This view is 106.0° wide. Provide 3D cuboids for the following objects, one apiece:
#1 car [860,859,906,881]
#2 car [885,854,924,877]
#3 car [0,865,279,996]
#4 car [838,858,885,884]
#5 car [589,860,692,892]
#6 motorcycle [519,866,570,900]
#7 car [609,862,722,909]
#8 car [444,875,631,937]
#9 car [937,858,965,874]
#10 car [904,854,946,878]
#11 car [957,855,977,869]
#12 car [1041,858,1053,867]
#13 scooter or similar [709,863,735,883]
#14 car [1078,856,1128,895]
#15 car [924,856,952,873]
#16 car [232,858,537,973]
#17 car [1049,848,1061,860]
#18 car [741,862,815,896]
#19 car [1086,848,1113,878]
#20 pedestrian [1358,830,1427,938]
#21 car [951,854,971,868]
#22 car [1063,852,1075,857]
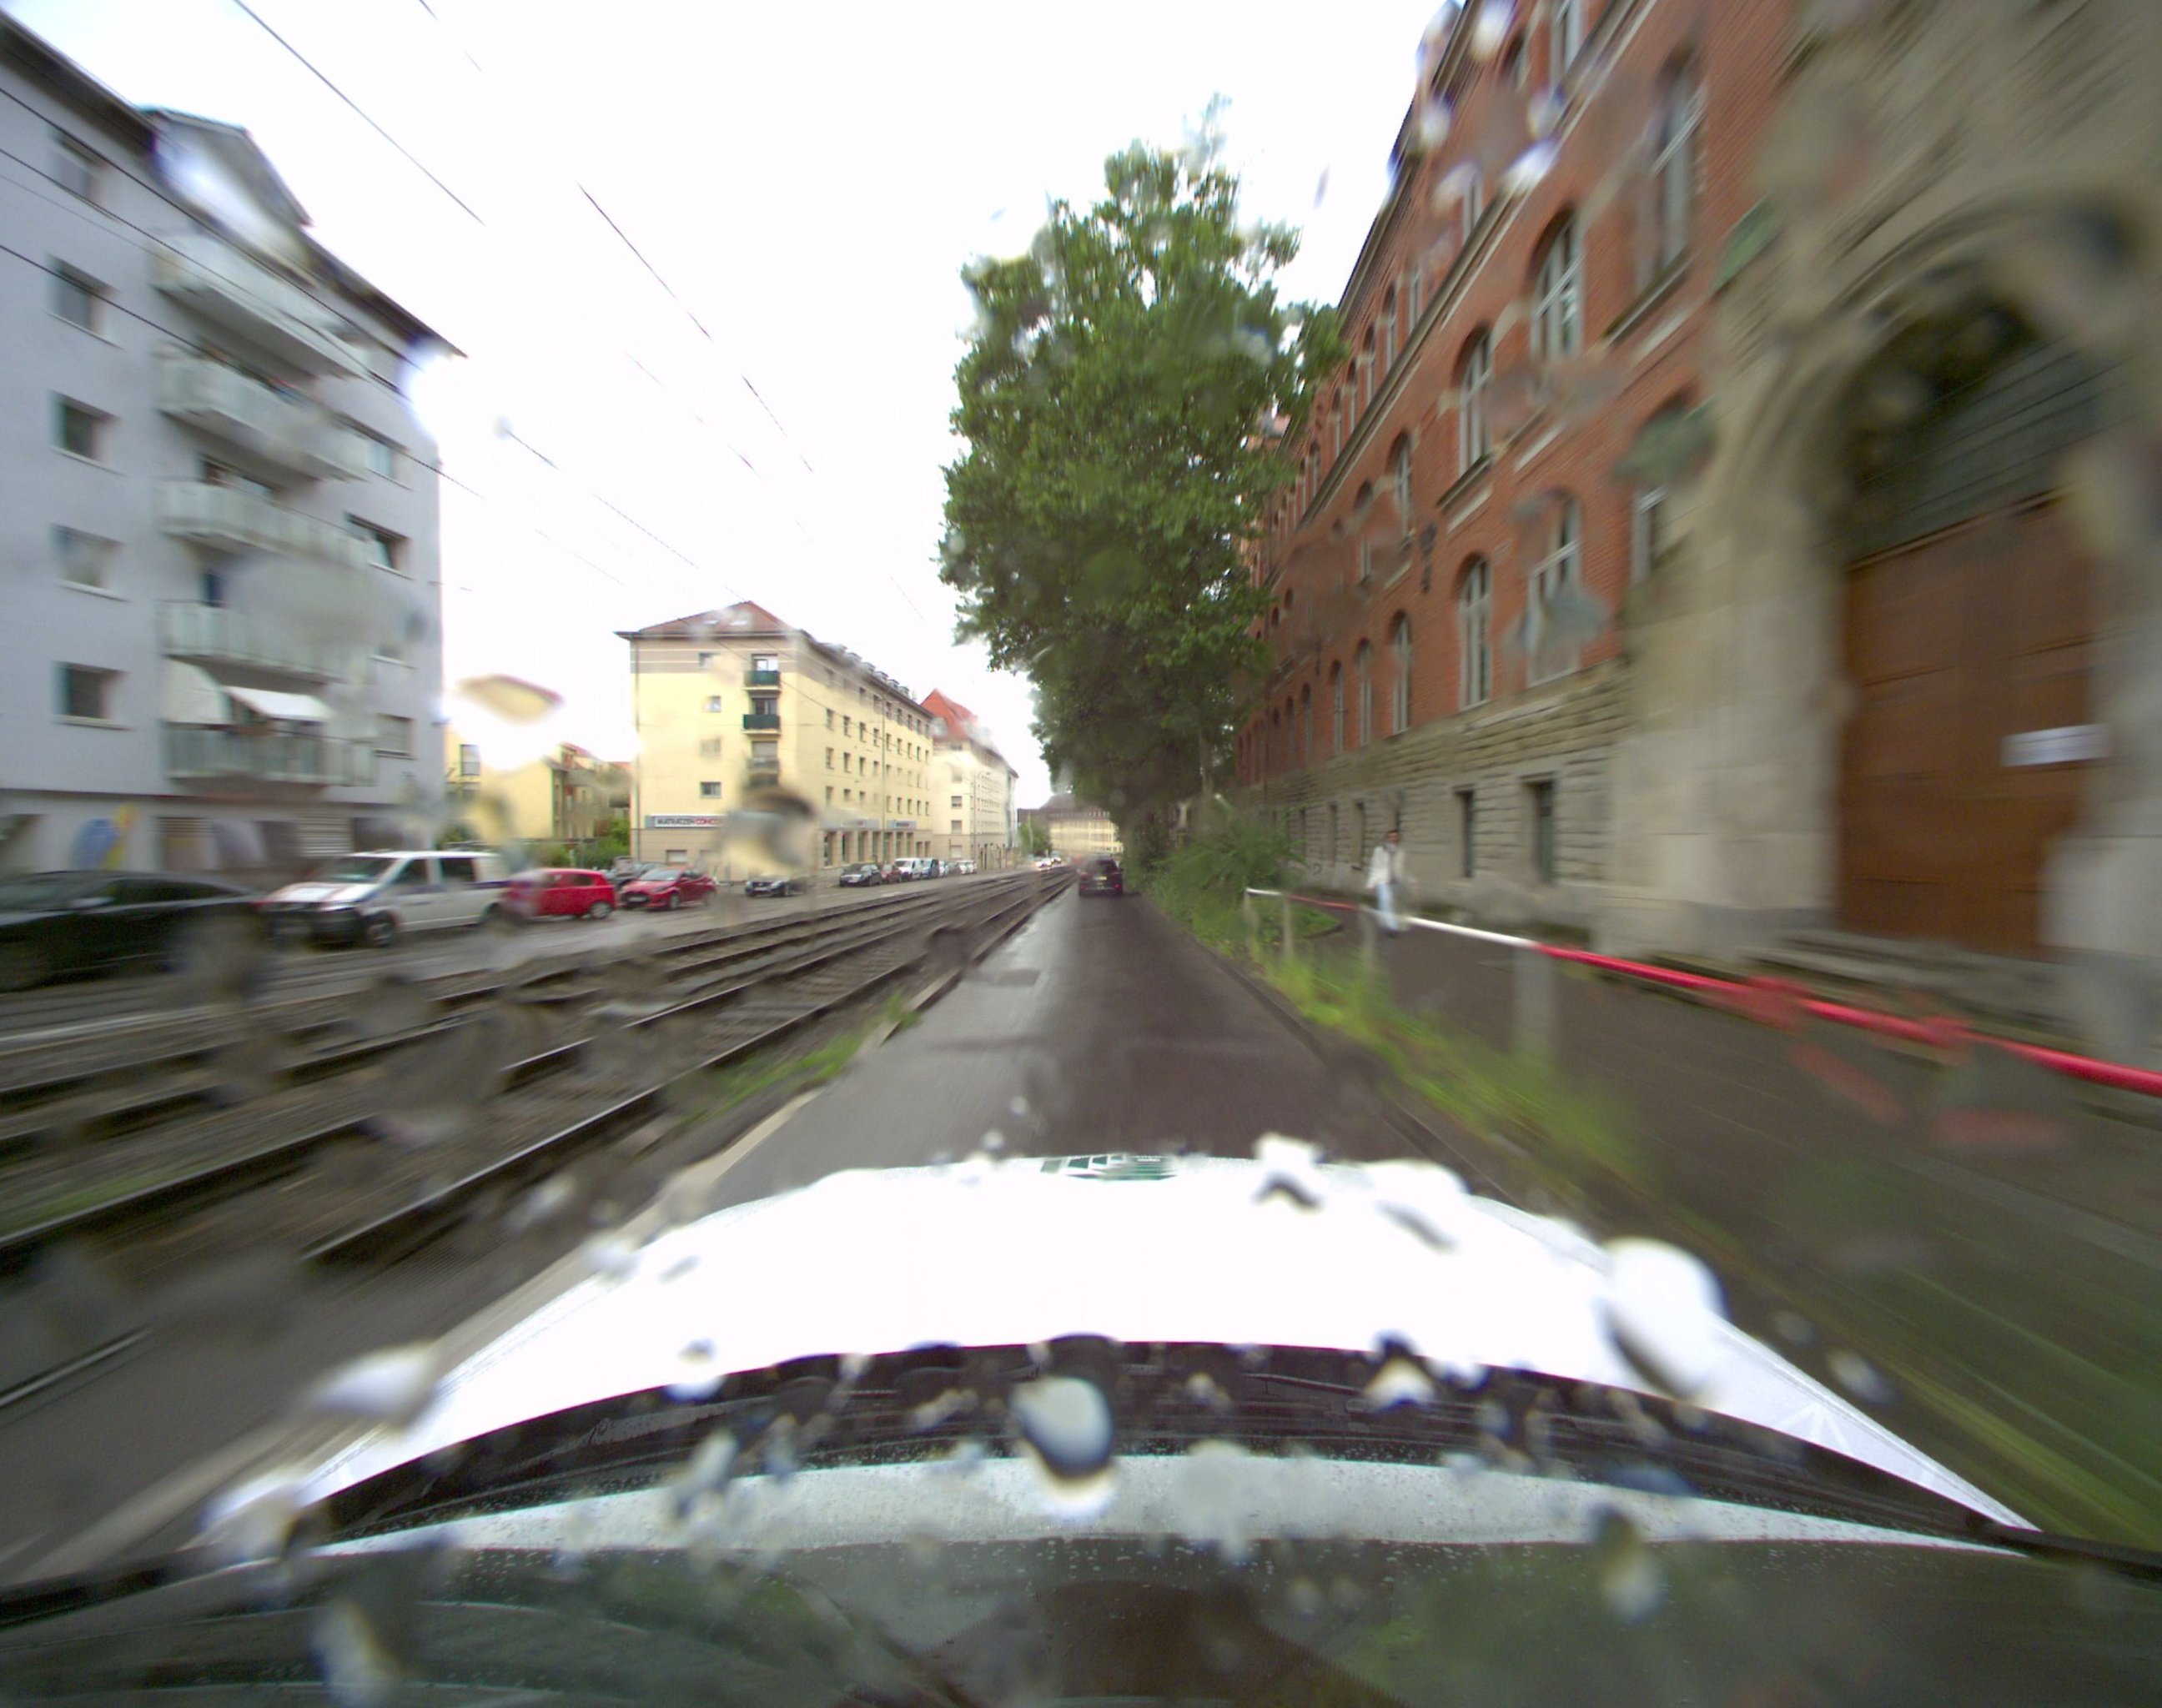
[{"bbox_3d":[-13.822,1.093,57.157,1.844,1.432,4.835,1,0,2],"label":"car"},{"bbox_3d":[-13.581,0.862,62.876,1.859,1.717,4.463,-1,0,2],"label":"car"},{"bbox_3d":[-15.107,1.040,12.218,1.726,1.651,4.365,0,0,2],"label":"car"},{"bbox_3d":[-13.798,1.053,51.472,1.847,1.508,4.986,-1,0,-3],"label":"car"},{"bbox_3d":[-20.427,0.987,38.015,1.860,1.303,4.489,0,1,9],"label":"car"},{"bbox_3d":[-19.997,1.076,30.391,0.637,1.200,1.784,3,-1,1],"label":"motorcycle"},{"bbox_3d":[-14.548,1.068,28.774,1.646,1.451,4.079,-1,0,5],"label":"car"},{"bbox_3d":[-15.192,1.385,22.948,1.762,1.434,4.008,0,0,36],"label":"car"},{"bbox_3d":[-12.700,1.150,79.638,1.806,1.499,4.585,1,1,2],"label":"car"},{"bbox_3d":[-13.185,0.995,69.113,1.984,1.905,5.468,1,1,6],"label":"car"},{"bbox_3d":[-12.769,0.862,91.196,1.703,1.450,3.541,1,0,0],"label":"car"},{"bbox_3d":[-5.939,1.444,141.540,1.705,1.462,4.284,-1,1,3],"label":"car"},{"bbox_3d":[-20.148,1.047,45.705,1.288,1.112,0.379,0,1,-5],"label":"scooter or similar"},{"bbox_3d":[0.868,0.838,33.761,1.927,1.453,4.317,0,0,0],"label":"car"},{"bbox_3d":[-13.015,0.948,74.288,1.685,1.439,4.050,-1,1,1],"label":"car"},{"bbox_3d":[-15.060,1.185,18.189,2.062,2.009,5.305,2,1,2],"label":"car"},{"bbox_3d":[-5.279,0.028,166.782,1.985,2.451,6.002,-1,0,3],"label":"car"},{"bbox_3d":[-14.044,1.132,38.036,1.674,1.396,4.623,-1,0,1],"label":"car"},{"bbox_3d":[1.249,0.598,56.476,1.735,2.013,3.904,-1,0,0],"label":"car"},{"bbox_3d":[5.028,0.467,13.210,0.819,1.678,0.861,-1,0,4],"label":"pedestrian"},{"bbox_3d":[-12.765,0.754,86.773,1.699,1.396,3.934,0,0,-1],"label":"car"},{"bbox_3d":[-3.639,0.202,246.272,2.003,1.542,3.967,-2,1,-25],"label":"car"}]
